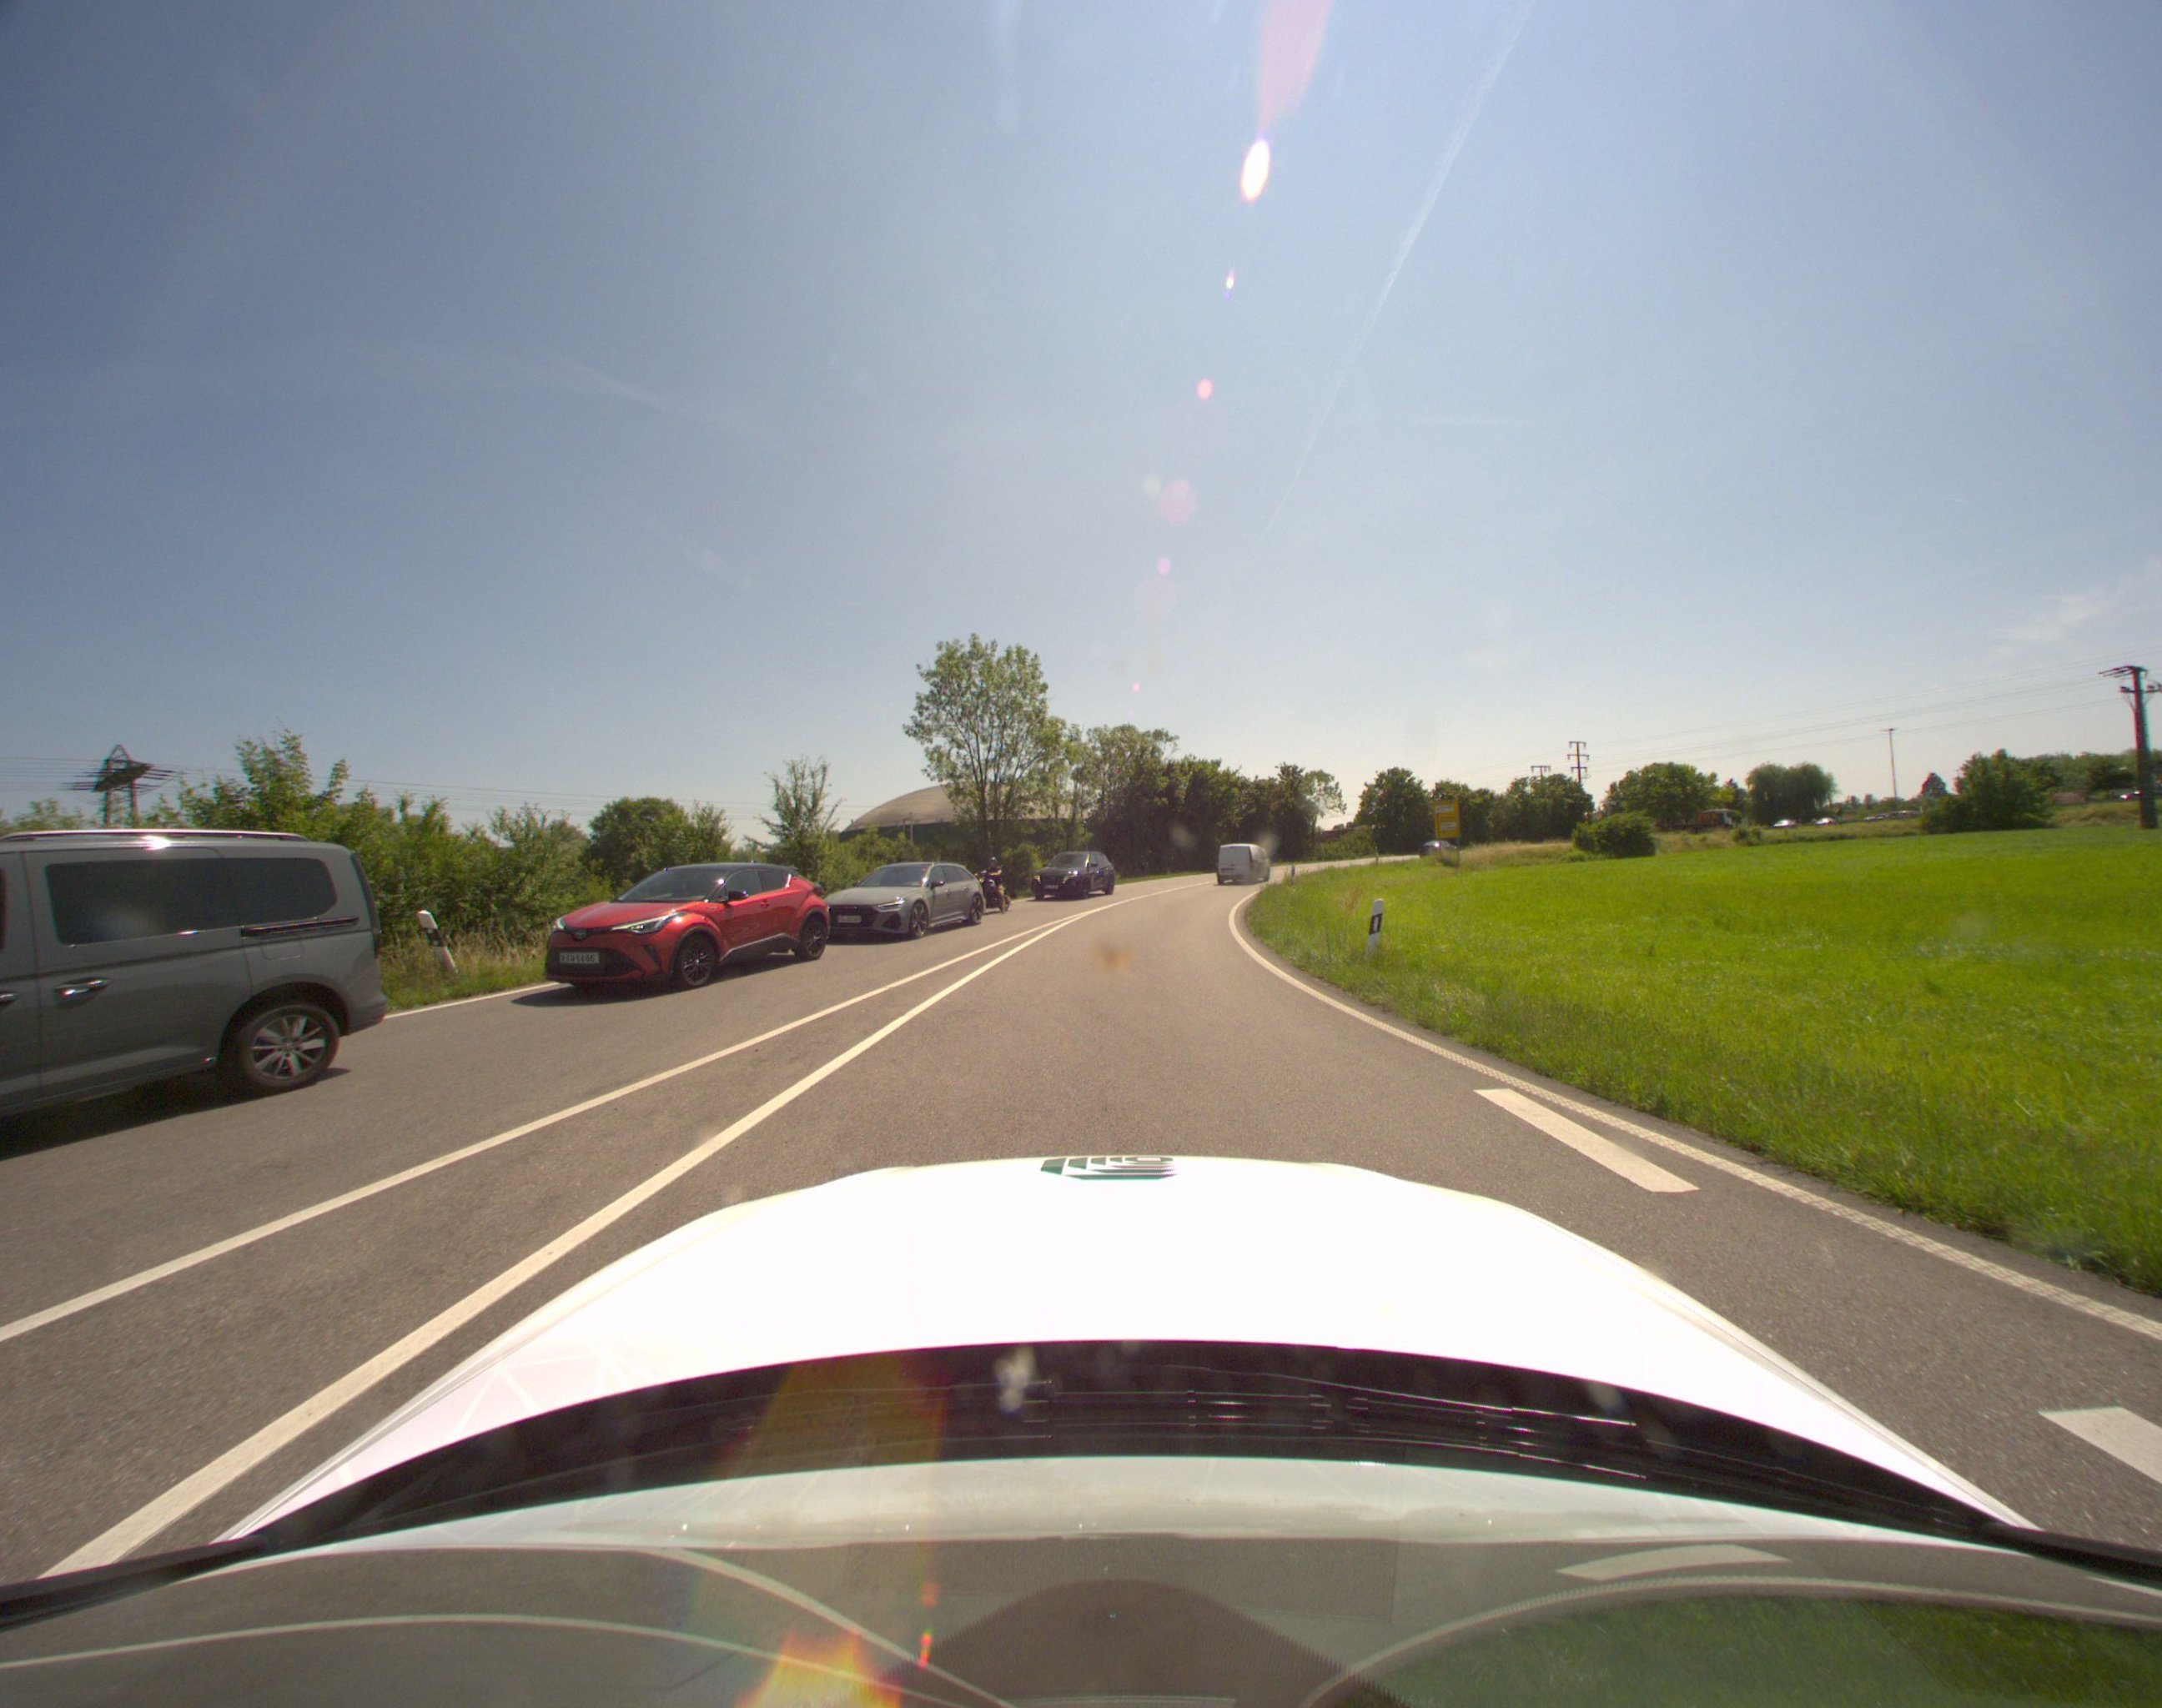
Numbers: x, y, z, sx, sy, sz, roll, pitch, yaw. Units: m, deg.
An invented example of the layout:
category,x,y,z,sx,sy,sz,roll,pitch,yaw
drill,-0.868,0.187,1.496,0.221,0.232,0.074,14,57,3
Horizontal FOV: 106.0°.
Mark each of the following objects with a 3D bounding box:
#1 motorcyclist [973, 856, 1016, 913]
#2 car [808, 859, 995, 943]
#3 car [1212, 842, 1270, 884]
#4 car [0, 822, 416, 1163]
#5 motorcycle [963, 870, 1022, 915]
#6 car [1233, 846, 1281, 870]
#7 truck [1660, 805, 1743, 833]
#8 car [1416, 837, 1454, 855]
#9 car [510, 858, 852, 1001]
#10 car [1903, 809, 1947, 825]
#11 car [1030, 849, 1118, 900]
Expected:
category,x,y,z,sx,sy,sz,roll,pitch,yaw
motorcyclist,-2.386,0.823,22.510,0.775,1.495,1.135,-2,-1,15
car,-3.577,0.886,17.322,1.827,1.460,4.828,-1,0,15
car,7.404,0.382,37.341,1.887,1.732,3.842,-3,-1,21
car,-6.788,0.794,4.552,1.913,1.832,4.454,-3,-1,12
motorcycle,-2.407,1.030,22.459,0.776,1.123,2.439,-1,0,15
car,11.312,0.233,52.235,1.522,1.443,3.630,0,0,39
truck,74.703,-4.176,98.085,8.785,3.137,3.094,-1,-1,-14
car,30.345,-0.694,69.827,1.703,1.420,3.767,-4,-2,45
car,-5.206,0.875,11.418,1.785,1.515,4.410,-1,0,15
car,119.527,-5.283,115.389,2.007,2.014,3.960,-1,-1,-31
car,-0.165,0.679,28.973,1.687,1.638,4.271,-1,0,20
